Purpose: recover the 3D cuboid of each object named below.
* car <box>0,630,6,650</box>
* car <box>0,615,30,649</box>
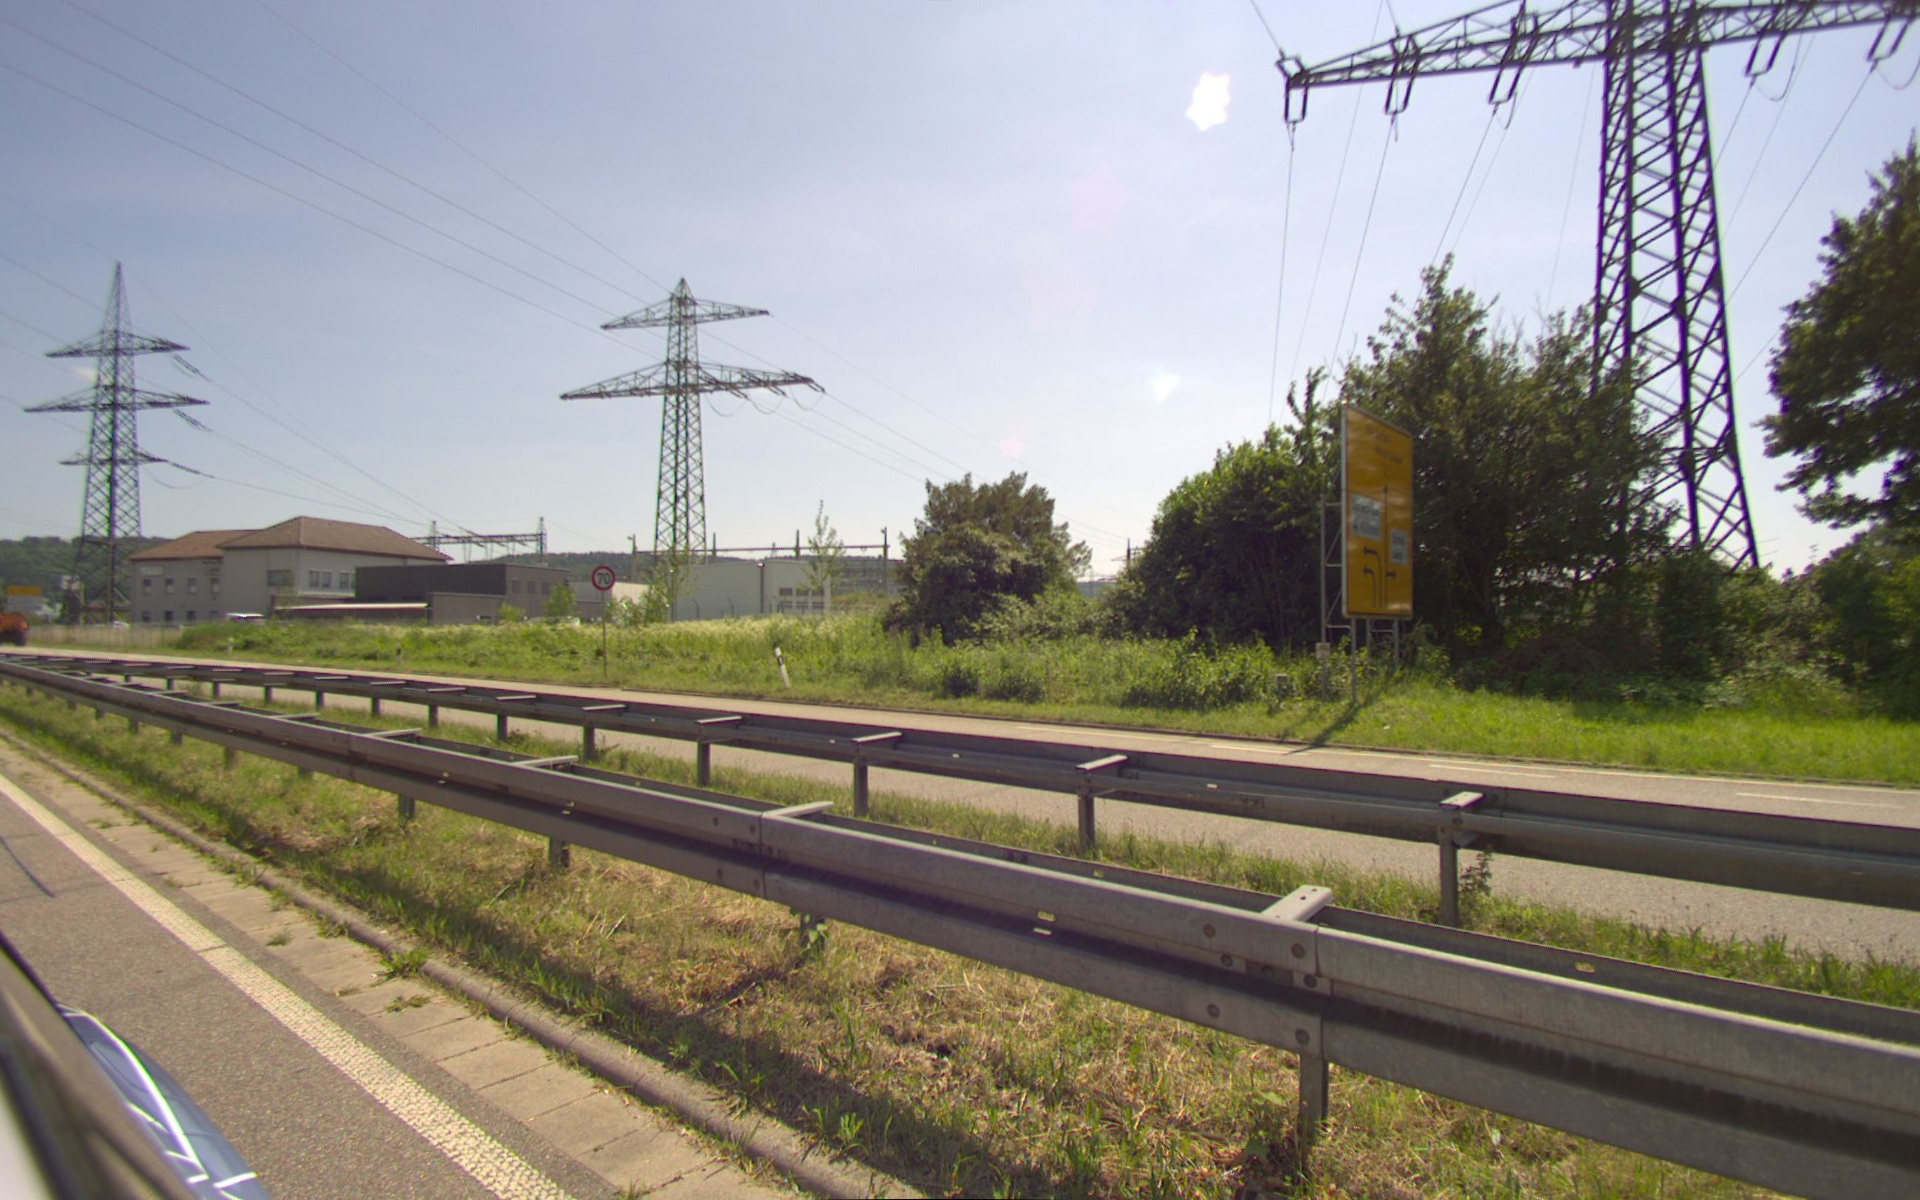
[{"bbox_3d":[-95.567,3.907,99.495,3.993,1.929,1.975,0,0,37],"label":"car"},{"bbox_3d":[-87.999,2.968,93.248,5.634,3.084,2.574,-2,-3,40],"label":"car"}]
